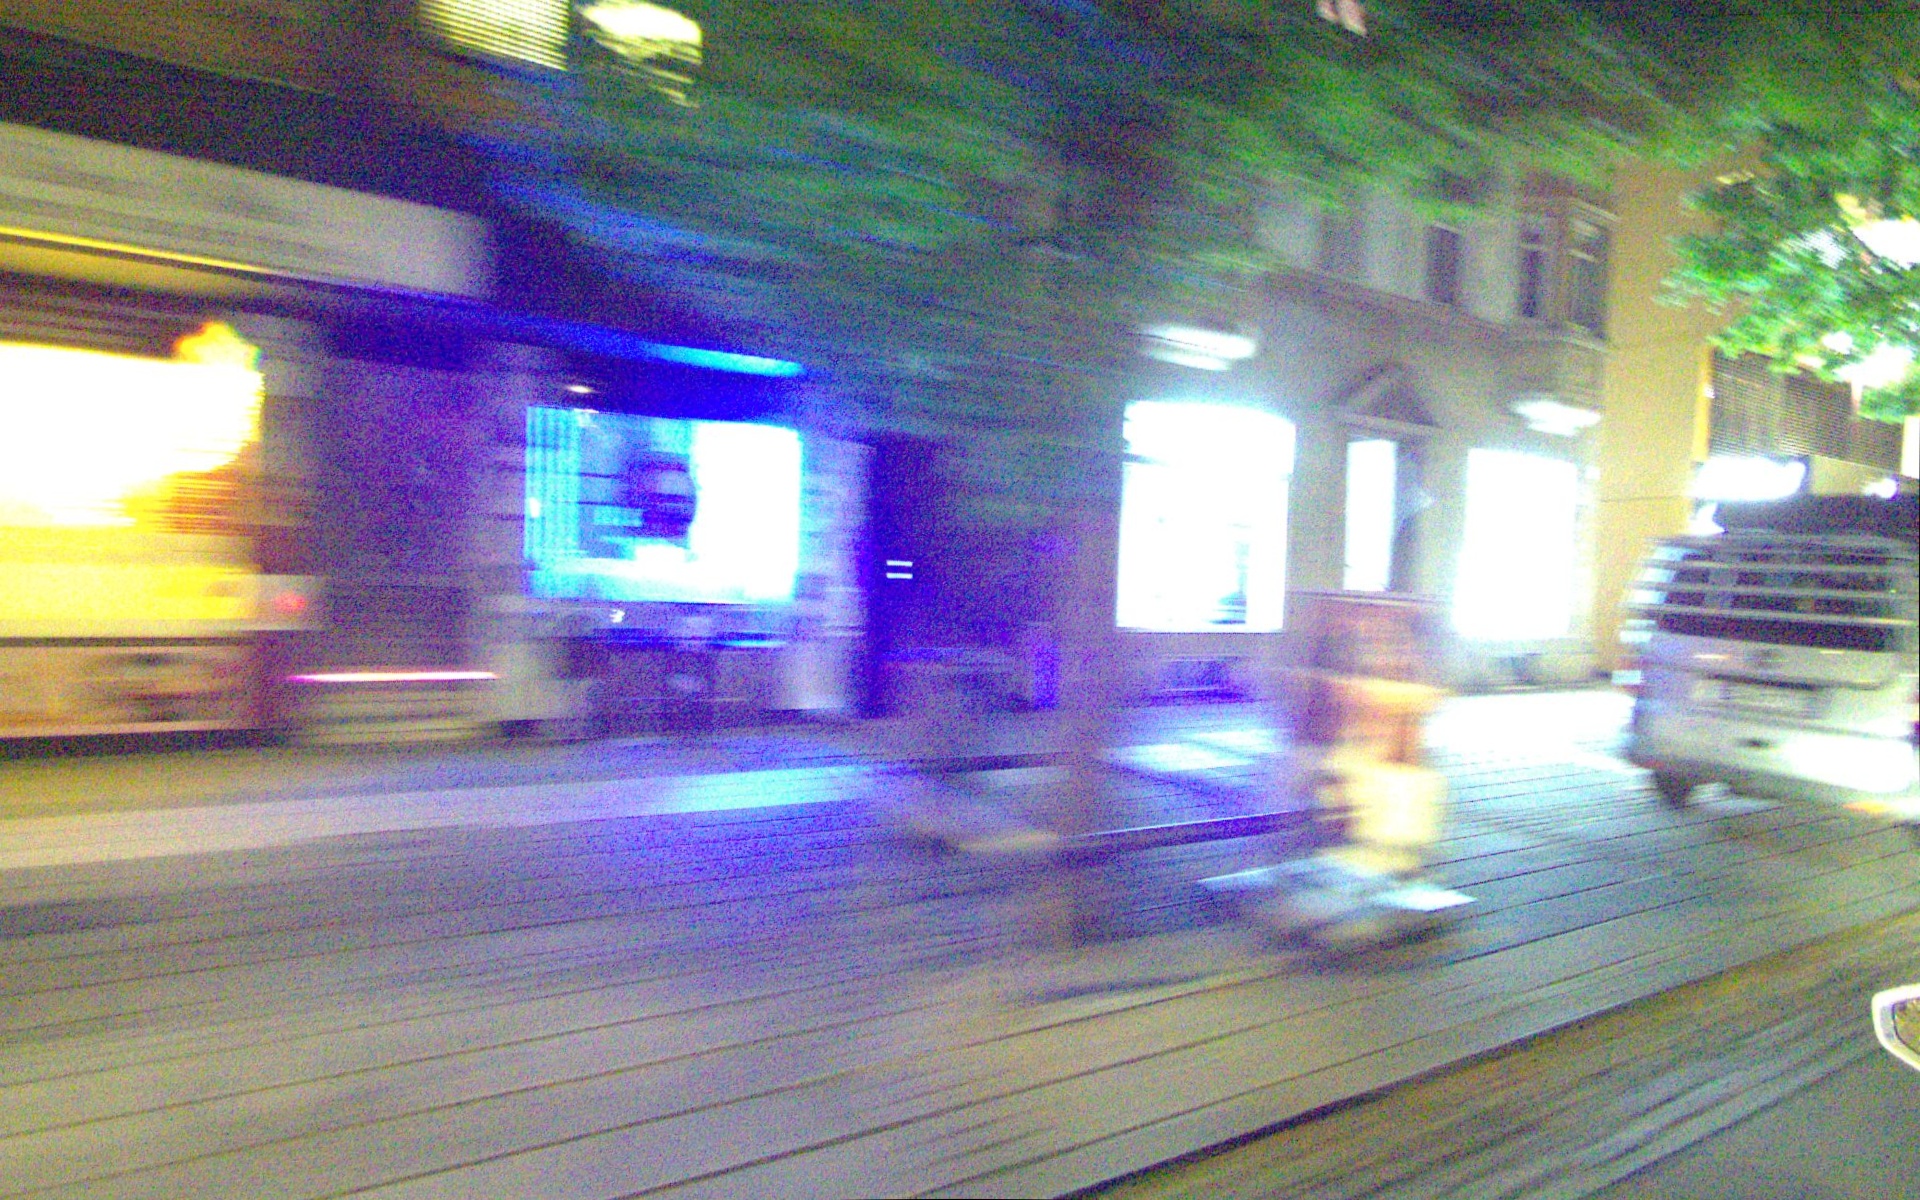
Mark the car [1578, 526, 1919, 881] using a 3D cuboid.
[{"bbox_3d":[7.112,0.585,7.677,5.019,1.992,1.914,1,3,-32],"label":"car"}]
